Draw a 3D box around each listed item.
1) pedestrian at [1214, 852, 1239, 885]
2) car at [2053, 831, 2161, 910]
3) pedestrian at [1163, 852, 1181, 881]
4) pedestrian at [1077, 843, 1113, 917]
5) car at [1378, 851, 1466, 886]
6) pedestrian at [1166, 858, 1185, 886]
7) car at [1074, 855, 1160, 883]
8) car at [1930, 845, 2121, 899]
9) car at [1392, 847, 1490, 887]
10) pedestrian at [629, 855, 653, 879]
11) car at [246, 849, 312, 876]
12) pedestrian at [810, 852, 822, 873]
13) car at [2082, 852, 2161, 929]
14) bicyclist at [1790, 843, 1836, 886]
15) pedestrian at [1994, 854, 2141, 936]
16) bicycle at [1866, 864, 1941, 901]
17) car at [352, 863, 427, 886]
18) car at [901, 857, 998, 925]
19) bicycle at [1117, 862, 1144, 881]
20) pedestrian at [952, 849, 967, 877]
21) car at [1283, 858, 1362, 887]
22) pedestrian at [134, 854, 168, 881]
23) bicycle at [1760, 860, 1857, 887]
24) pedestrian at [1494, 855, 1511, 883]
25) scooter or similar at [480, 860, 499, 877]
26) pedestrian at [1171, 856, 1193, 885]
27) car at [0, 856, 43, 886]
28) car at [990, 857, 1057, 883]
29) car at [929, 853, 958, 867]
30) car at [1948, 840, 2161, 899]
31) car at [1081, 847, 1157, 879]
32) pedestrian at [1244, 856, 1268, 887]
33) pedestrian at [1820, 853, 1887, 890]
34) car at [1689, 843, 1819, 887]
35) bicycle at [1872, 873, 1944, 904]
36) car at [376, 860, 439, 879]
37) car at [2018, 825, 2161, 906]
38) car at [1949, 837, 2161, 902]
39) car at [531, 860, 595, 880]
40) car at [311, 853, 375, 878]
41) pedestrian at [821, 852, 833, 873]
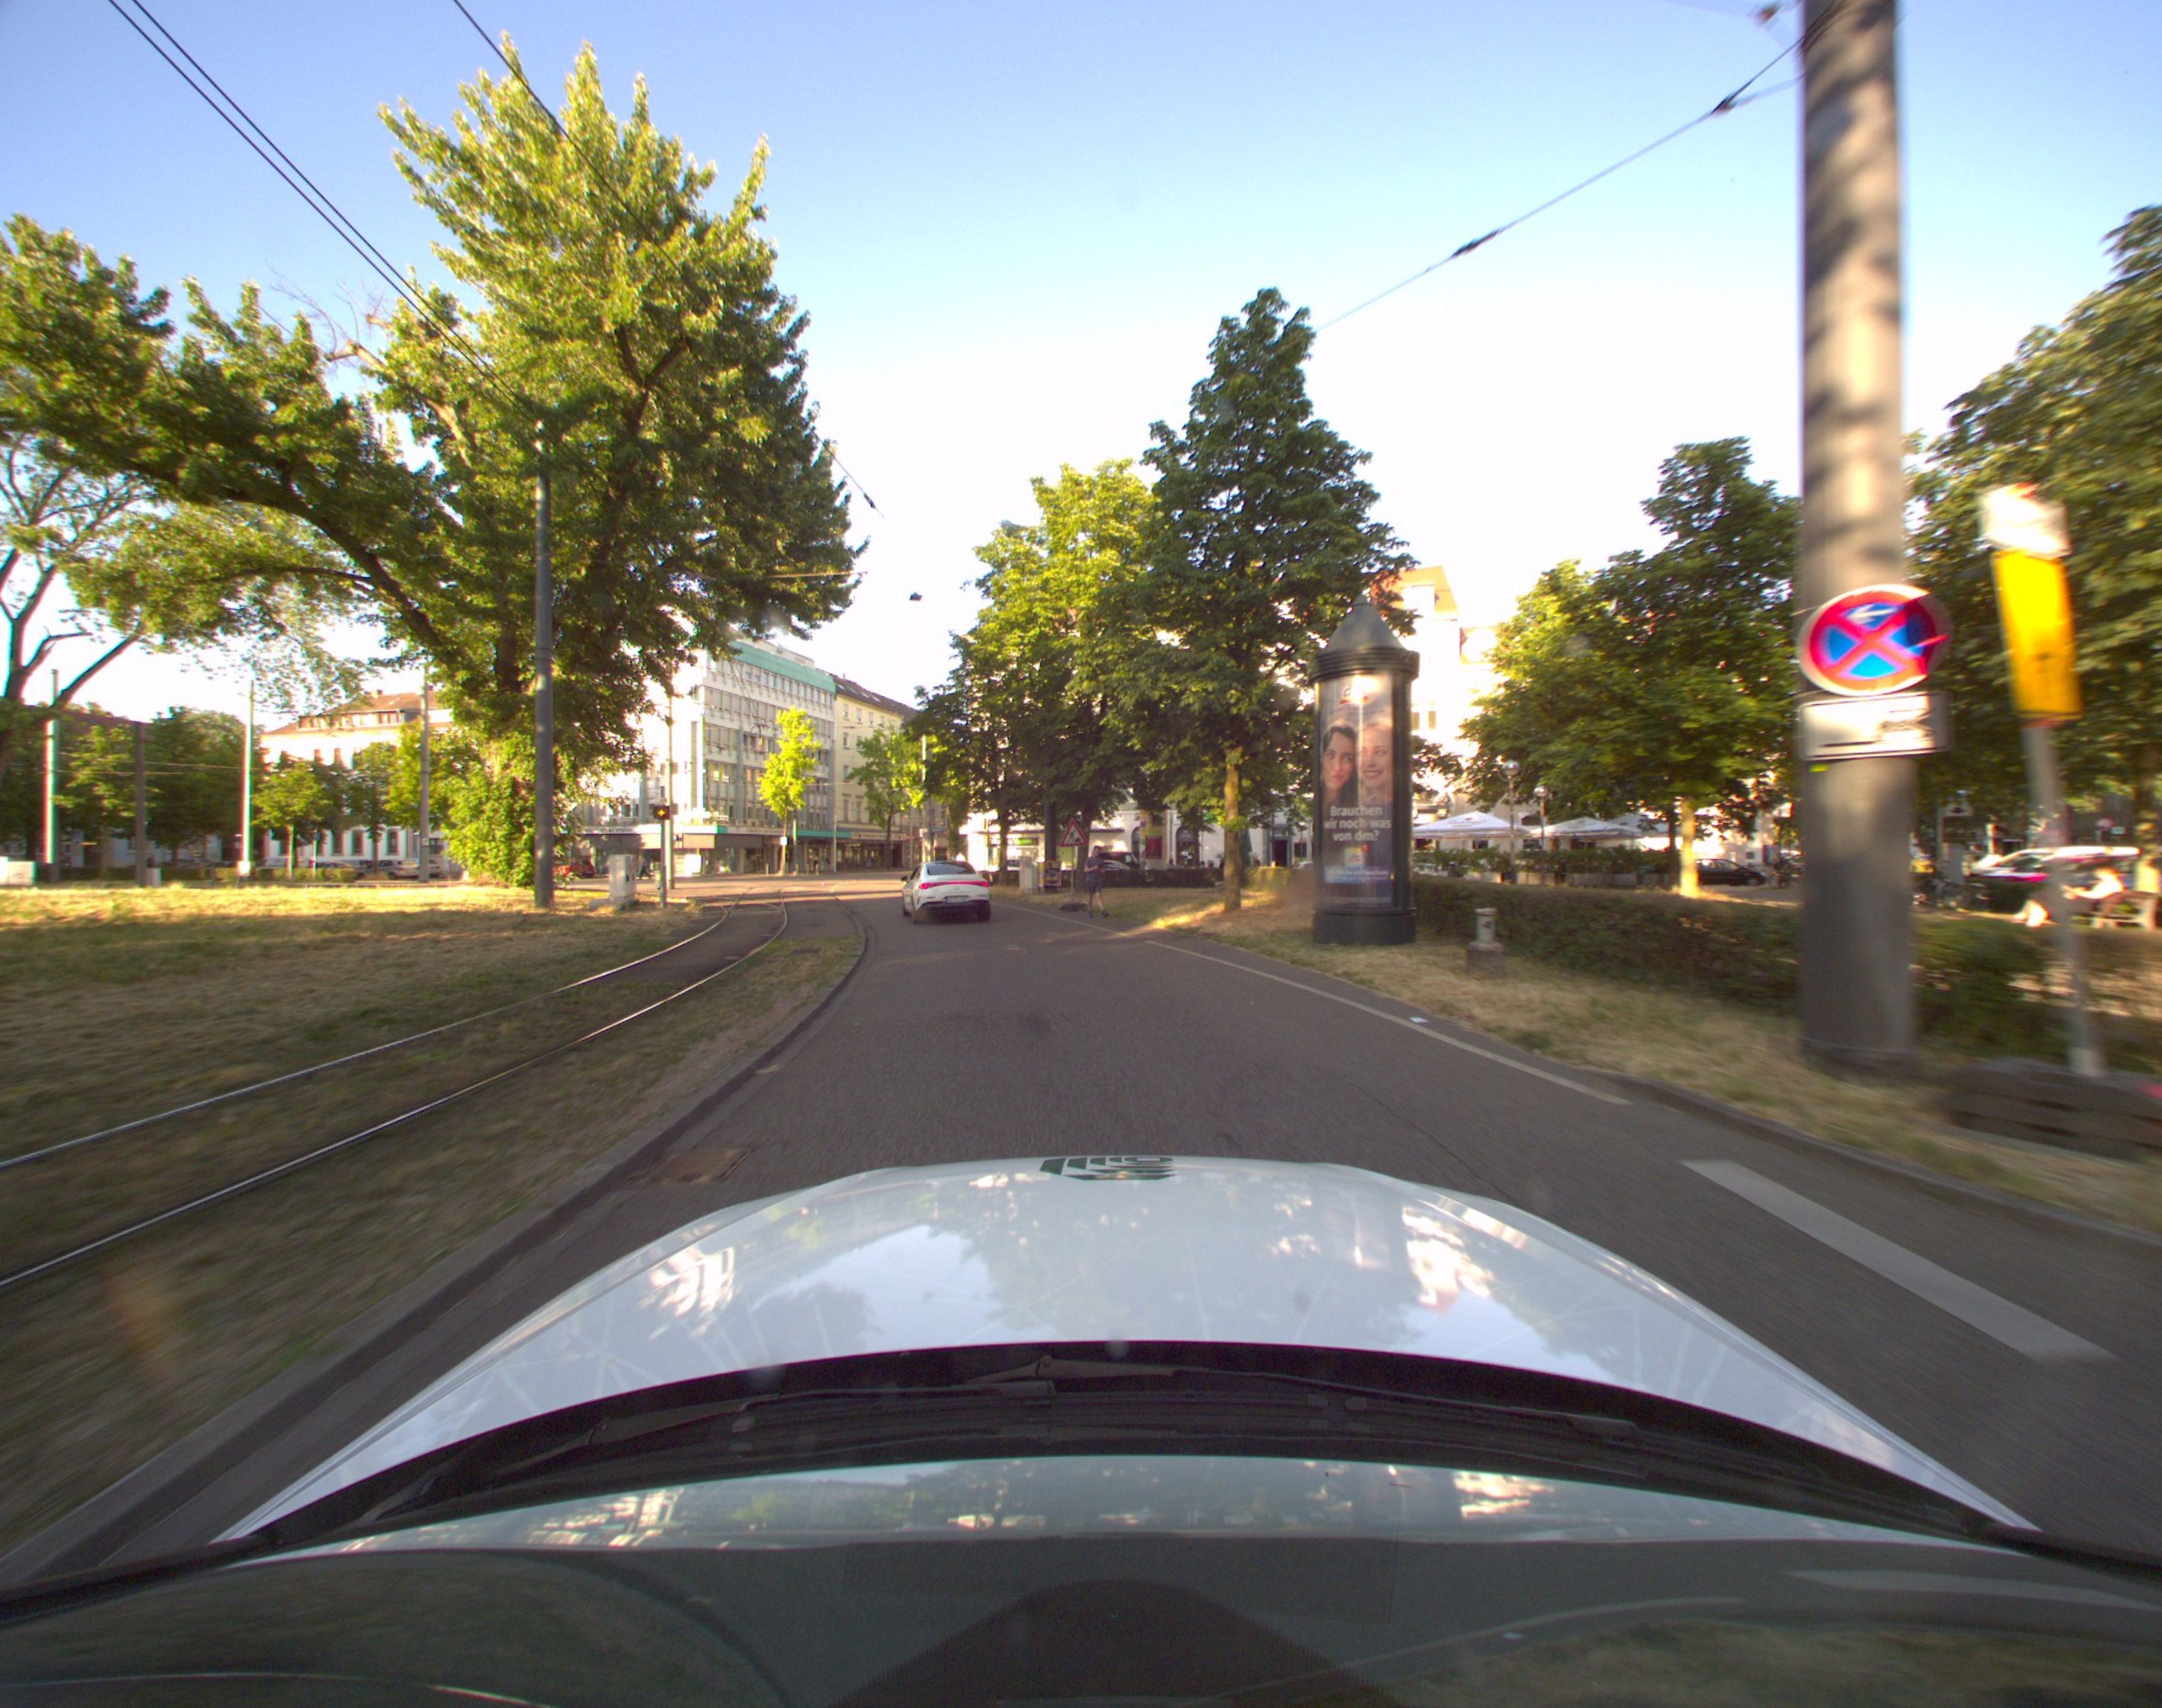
[{"bbox_3d":[6.128,0.609,34.301,0.723,1.356,1.021,-2,-1,28],"label":"pedestrian"},{"bbox_3d":[25.242,0.382,18.526,3.975,1.706,1.999,1,0,-1],"label":"car"},{"bbox_3d":[3.921,0.552,35.079,0.562,1.244,0.616,-1,-1,24],"label":"pedestrian"},{"bbox_3d":[0.334,0.620,19.720,0.646,1.743,0.582,1,0,-39],"label":"pedestrian"},{"bbox_3d":[19.774,0.839,47.349,4.466,1.963,2.031,0,-1,13],"label":"car"},{"bbox_3d":[4.239,0.790,36.442,0.772,1.243,0.991,0,0,11],"label":"pedestrian"},{"bbox_3d":[2.061,0.846,46.164,4.625,1.514,1.745,0,0,13],"label":"car"},{"bbox_3d":[32.743,0.589,28.418,3.949,1.773,1.925,1,0,31],"label":"car"},{"bbox_3d":[18.575,0.650,42.213,4.389,2.014,2.008,0,-1,15],"label":"car"},{"bbox_3d":[-31.285,0.898,57.894,0.896,1.703,1.170,-1,-1,32],"label":"pedestrian"},{"bbox_3d":[-61.108,0.616,62.060,3.954,2.014,2.010,0,-1,19],"label":"car"},{"bbox_3d":[-25.391,0.805,77.923,0.791,2.014,0.737,0,-1,15],"label":"pedestrian"},{"bbox_3d":[22.781,0.718,15.998,3.977,1.486,1.998,1,0,-3],"label":"car"},{"bbox_3d":[33.016,0.455,36.748,1.234,1.916,0.990,0,0,17],"label":"bicyclist"},{"bbox_3d":[15.711,0.623,13.031,1.353,1.226,0.967,0,0,41],"label":"pedestrian"},{"bbox_3d":[22.895,0.787,22.696,1.456,0.996,0.326,-1,-1,43],"label":"bicycle"},{"bbox_3d":[-50.691,1.497,59.730,3.963,1.684,2.005,0,-1,9],"label":"car"},{"bbox_3d":[-3.371,0.835,20.308,1.872,1.469,4.019,-1,0,-17],"label":"car"},{"bbox_3d":[2.447,0.836,39.984,0.548,0.929,1.539,-1,-1,37],"label":"bicycle"},{"bbox_3d":[-8.580,0.627,57.541,0.836,2.014,0.848,0,-1,9],"label":"pedestrian"},{"bbox_3d":[14.340,1.080,48.573,4.466,1.617,2.031,0,-1,13],"label":"car"},{"bbox_3d":[-69.405,1.006,60.764,1.450,2.014,1.124,0,-1,15],"label":"pedestrian"},{"bbox_3d":[32.843,0.867,36.805,3.161,1.131,0.990,0,0,17],"label":"bicycle"},{"bbox_3d":[17.151,0.609,33.155,0.550,1.117,0.497,0,-1,35],"label":"pedestrian"},{"bbox_3d":[-49.650,1.228,68.359,1.903,1.398,0.760,0,0,39],"label":"scooter or similar"},{"bbox_3d":[4.766,0.777,38.388,0.944,1.284,0.664,4,0,6],"label":"pedestrian"},{"bbox_3d":[-73.602,1.149,54.998,1.990,2.014,3.993,0,0,-5],"label":"car"},{"bbox_3d":[-3.352,0.928,47.549,3.540,1.514,1.745,0,0,13],"label":"car"},{"bbox_3d":[-16.658,0.759,98.885,1.947,1.640,4.017,0,0,16],"label":"car"},{"bbox_3d":[30.861,0.460,25.984,3.955,1.773,1.922,1,0,18],"label":"car"},{"bbox_3d":[2.424,0.586,51.373,4.465,1.963,2.031,0,0,13],"label":"car"},{"bbox_3d":[7.343,0.730,34.087,0.655,1.243,0.957,4,0,28],"label":"pedestrian"},{"bbox_3d":[27.108,0.612,28.590,1.034,1.250,1.442,0,0,-24],"label":"pedestrian"},{"bbox_3d":[32.106,0.509,39.007,4.389,2.014,2.008,0,-1,15],"label":"car"},{"bbox_3d":[21.380,0.877,21.078,1.258,0.779,0.449,-1,-1,37],"label":"bicycle"},{"bbox_3d":[-53.801,1.234,65.081,3.955,1.530,2.009,0,-1,17],"label":"car"},{"bbox_3d":[27.659,0.310,21.365,3.975,2.014,1.999,1,0,-1],"label":"car"},{"bbox_3d":[28.288,0.435,23.723,3.972,1.773,1.913,1,0,1],"label":"car"},{"bbox_3d":[-39.177,1.198,61.604,3.953,1.485,2.037,0,-1,21],"label":"car"},{"bbox_3d":[-60.430,0.958,66.688,3.957,2.014,2.008,0,-1,15],"label":"car"},{"bbox_3d":[-24.243,0.806,77.677,0.791,2.014,0.737,0,-1,15],"label":"pedestrian"}]
